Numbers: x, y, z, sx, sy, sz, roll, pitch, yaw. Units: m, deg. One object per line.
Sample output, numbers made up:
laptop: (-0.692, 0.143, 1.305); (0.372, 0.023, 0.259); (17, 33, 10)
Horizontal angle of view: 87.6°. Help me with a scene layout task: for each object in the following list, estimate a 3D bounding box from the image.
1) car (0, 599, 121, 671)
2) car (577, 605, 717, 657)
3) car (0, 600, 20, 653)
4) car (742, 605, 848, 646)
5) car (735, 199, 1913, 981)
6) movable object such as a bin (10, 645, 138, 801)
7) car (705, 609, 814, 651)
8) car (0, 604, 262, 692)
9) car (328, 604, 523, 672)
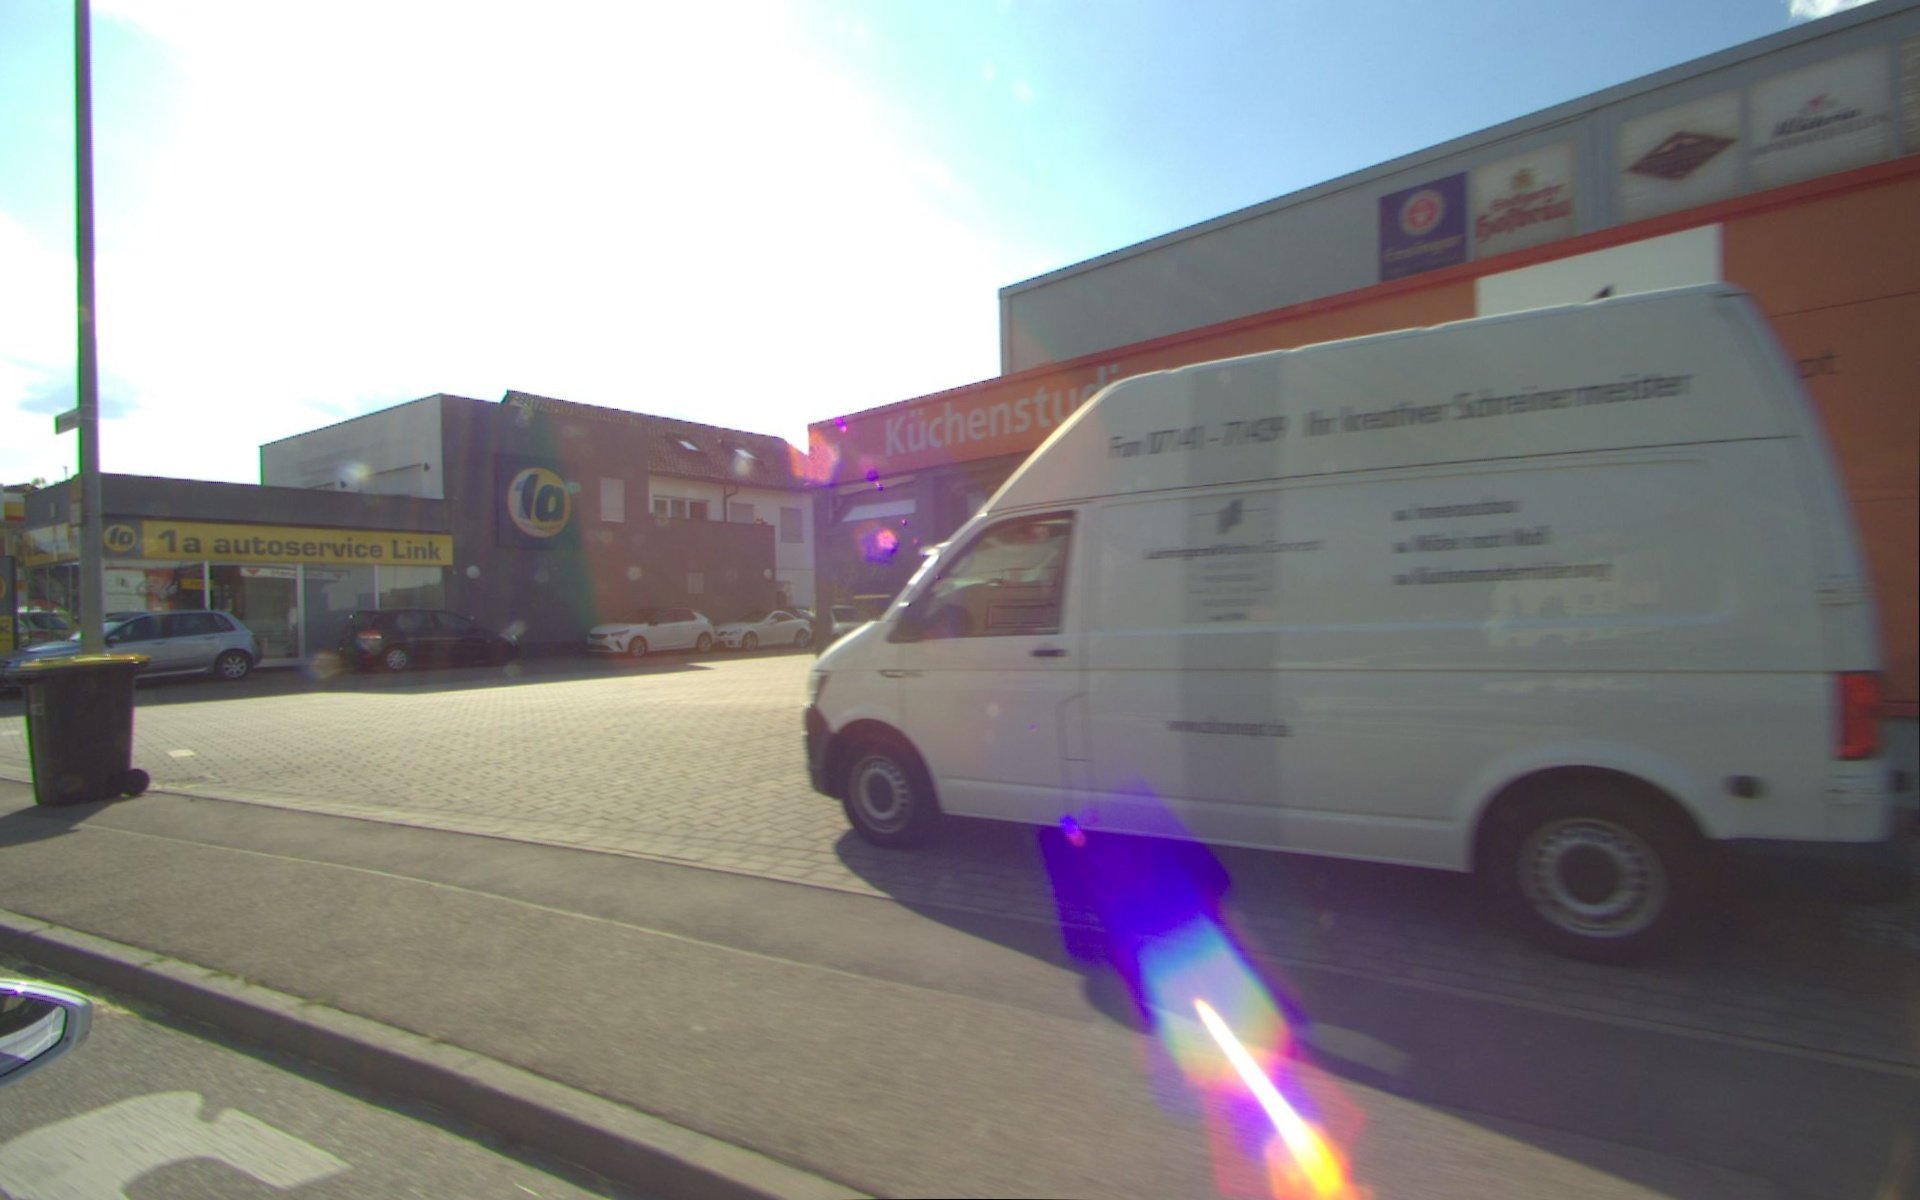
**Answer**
car: (-24.303, 0.885, 26.080); (1.645, 1.697, 4.075); (-2, 1, -5)
car: (-9.384, 0.892, 30.278); (1.692, 1.427, 3.895); (1, 1, 33)
car: (-31.284, 0.841, 31.630); (3.947, 1.598, 1.665); (-1, 1, 37)
car: (-6.130, 0.912, 37.113); (3.759, 1.418, 1.658); (1, 1, 34)
car: (1.306, 0.027, 5.281); (5.107, 2.406, 1.831); (-1, 0, 34)
movable object such as a bin: (-6.701, 0.901, 7.580); (0.565, 1.089, 0.565); (-1, 1, 33)
car: (-6.676, 0.963, 33.603); (1.379, 1.279, 3.746); (1, 1, 33)
car: (-16.548, 0.880, 20.010); (1.505, 1.551, 3.980); (-1, 0, 31)
car: (-12.969, 0.855, 24.504); (1.692, 1.487, 3.895); (1, 1, 33)
